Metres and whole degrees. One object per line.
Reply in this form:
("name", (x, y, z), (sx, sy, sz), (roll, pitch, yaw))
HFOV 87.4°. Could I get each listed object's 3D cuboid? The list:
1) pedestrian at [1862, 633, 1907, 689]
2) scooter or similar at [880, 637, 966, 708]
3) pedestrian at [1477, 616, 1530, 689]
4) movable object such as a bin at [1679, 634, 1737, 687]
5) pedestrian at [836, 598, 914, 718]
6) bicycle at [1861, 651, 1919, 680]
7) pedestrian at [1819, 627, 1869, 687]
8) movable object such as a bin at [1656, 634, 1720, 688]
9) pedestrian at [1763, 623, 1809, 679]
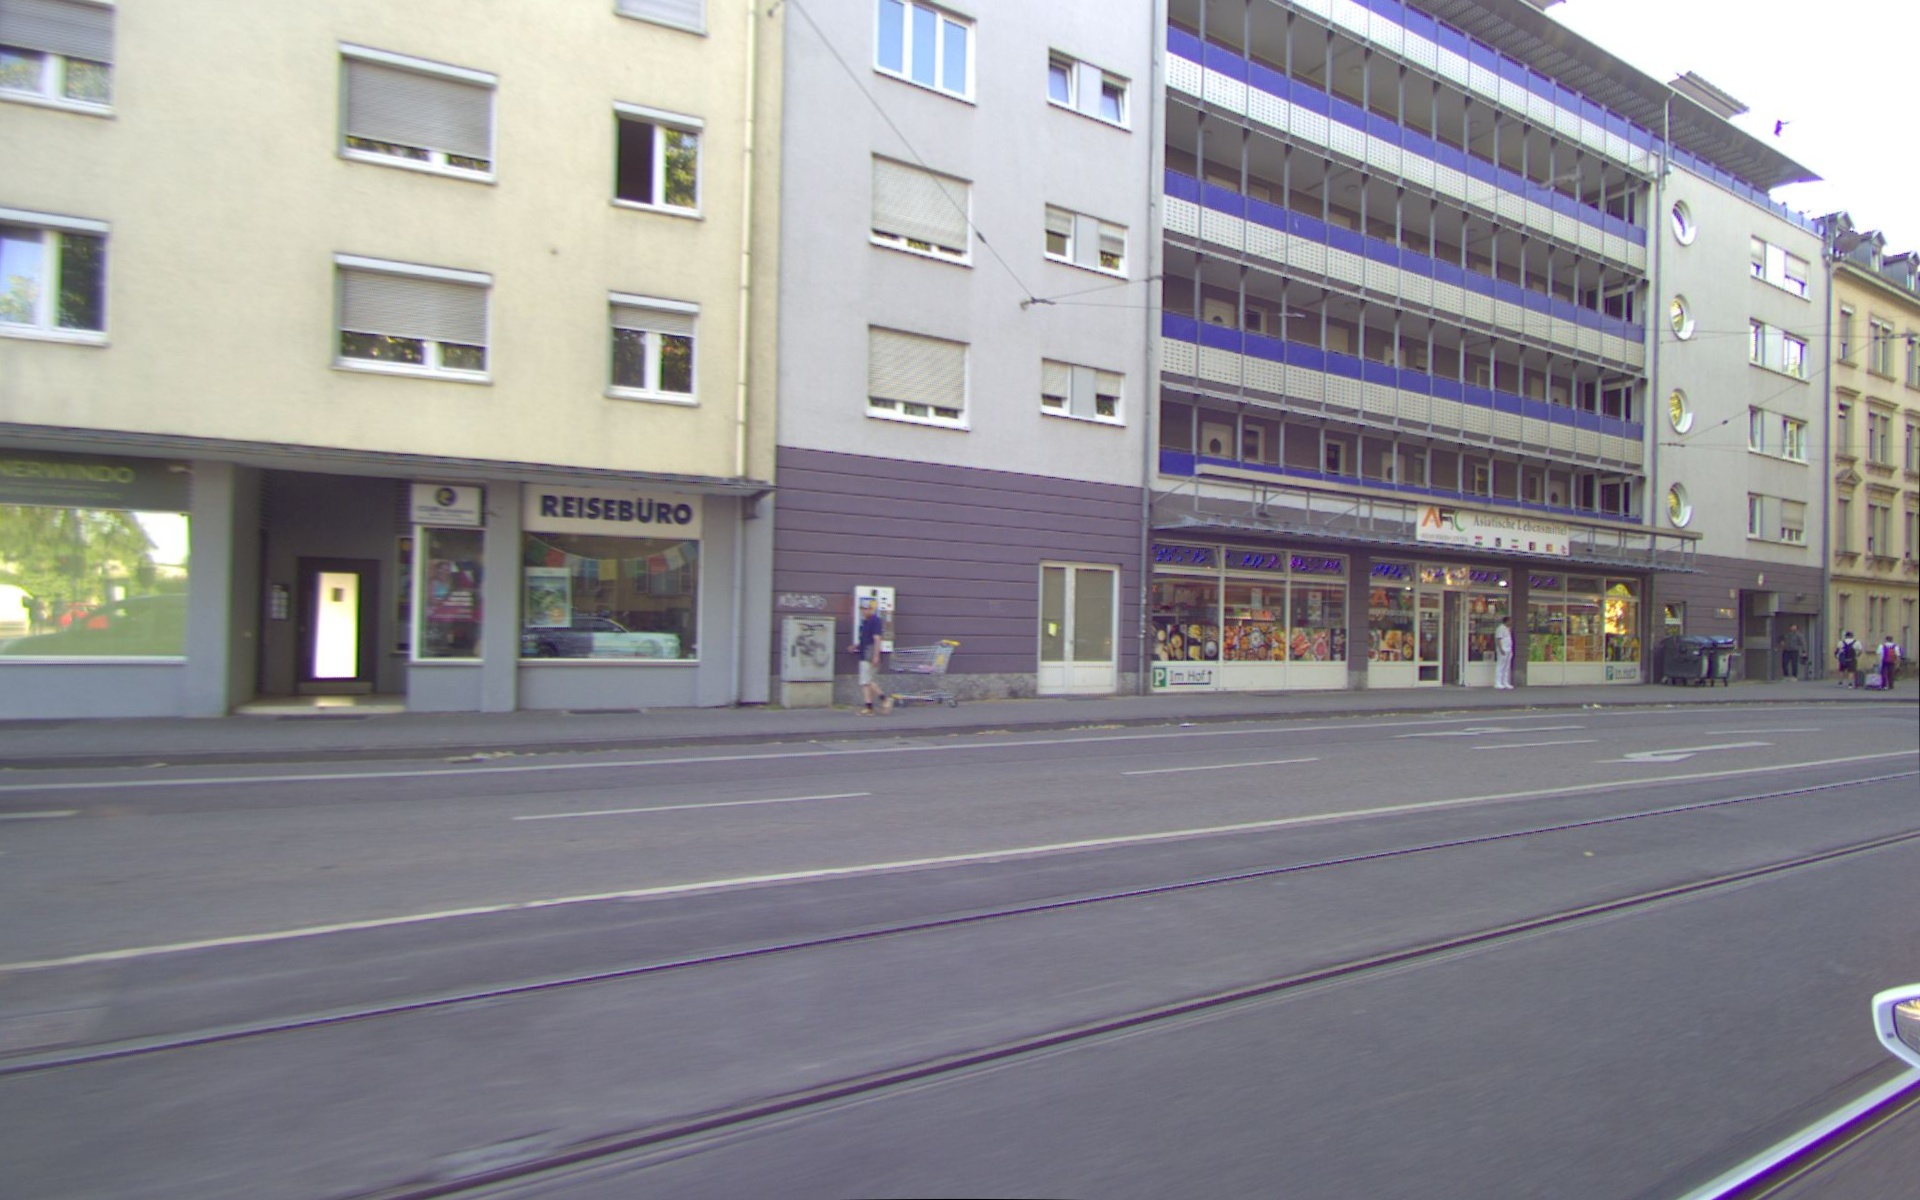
("pedestrian", (28.631, 1.877, 31.114), (0.674, 1.654, 0.729), (2, 1, -1))
("scooter or similar", (-0.597, 1.152, 16.241), (1.150, 1.070, 0.725), (2, 0, -31))
("pedestrian", (13.486, 1.288, 24.940), (0.810, 1.736, 0.783), (2, 2, -31))
("movable object such as a bin", (21.872, 1.756, 29.375), (1.198, 1.470, 1.050), (2, -1, -34))
("pedestrian", (-1.272, 0.848, 14.975), (0.893, 1.696, 0.712), (2, 2, -29))
("bicycle", (33.437, 2.363, 36.098), (2.105, 0.984, 0.646), (2, 0, -20))
("pedestrian", (27.549, 1.773, 31.318), (0.722, 1.808, 0.866), (2, 0, -9))
("movable object such as a bin", (20.675, 1.723, 28.520), (1.201, 1.470, 1.132), (2, -1, -34))
("pedestrian", (28.076, 1.712, 34.156), (0.720, 1.838, 0.958), (2, 1, -29))
